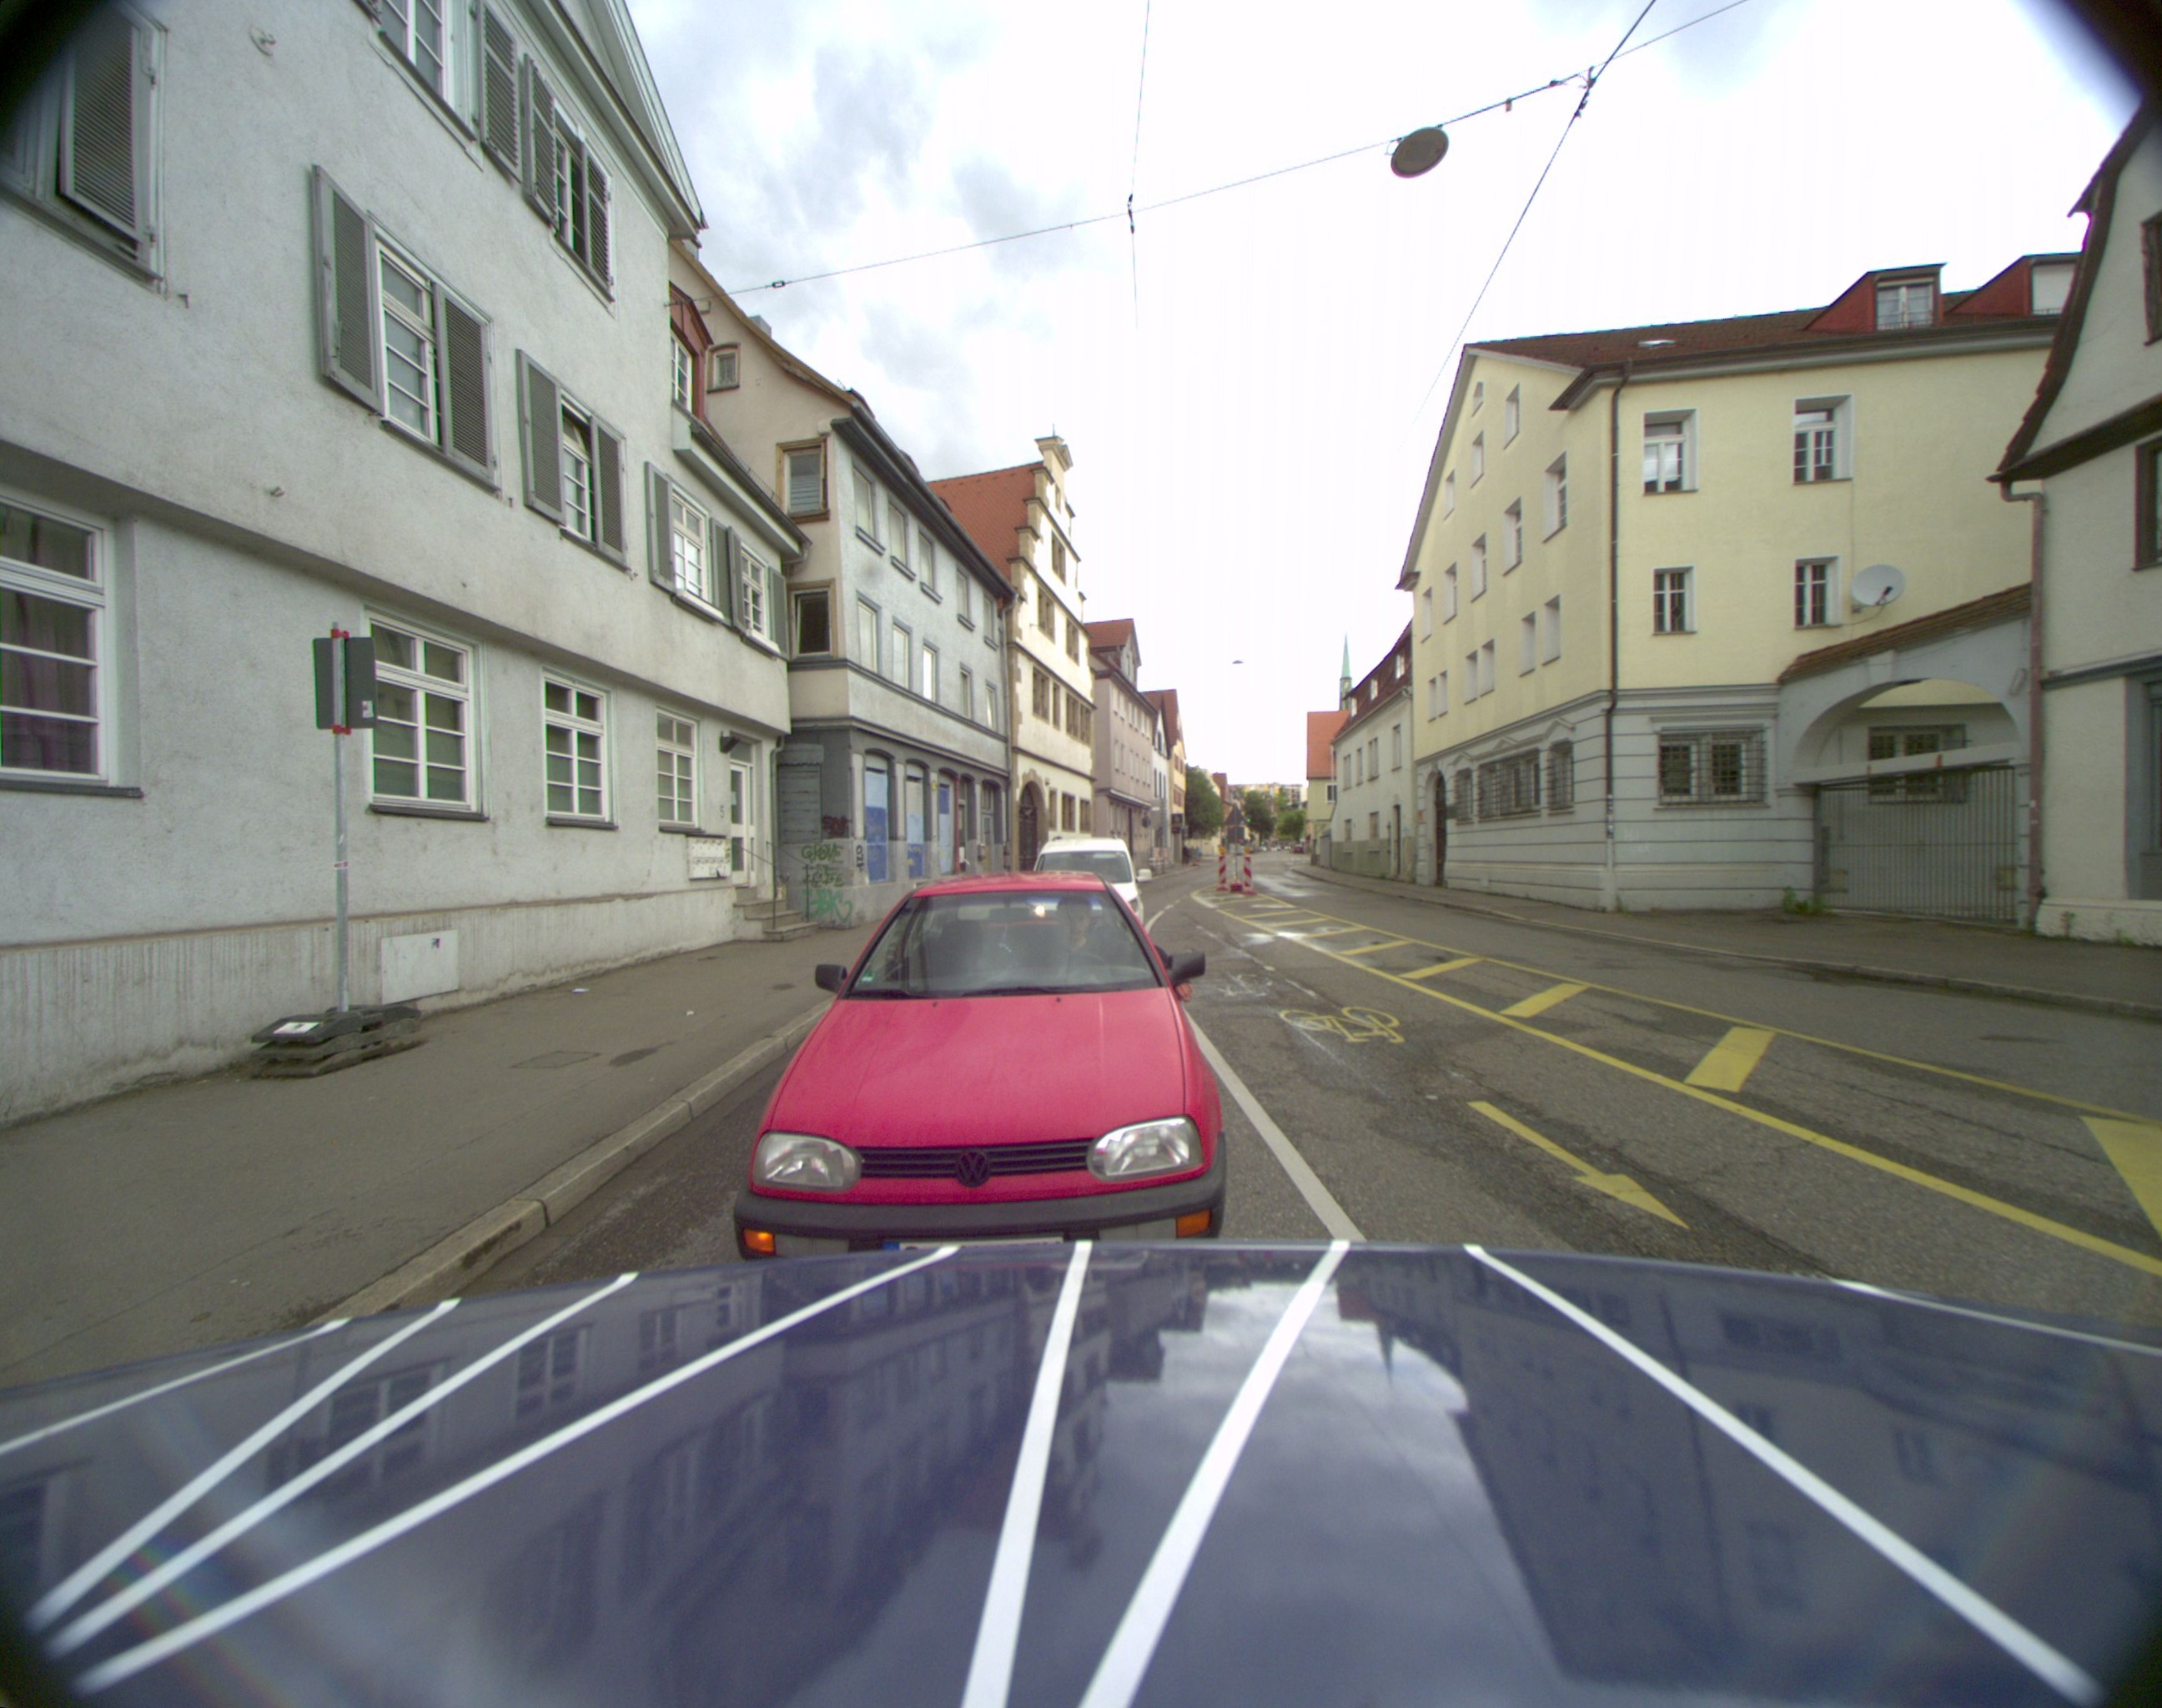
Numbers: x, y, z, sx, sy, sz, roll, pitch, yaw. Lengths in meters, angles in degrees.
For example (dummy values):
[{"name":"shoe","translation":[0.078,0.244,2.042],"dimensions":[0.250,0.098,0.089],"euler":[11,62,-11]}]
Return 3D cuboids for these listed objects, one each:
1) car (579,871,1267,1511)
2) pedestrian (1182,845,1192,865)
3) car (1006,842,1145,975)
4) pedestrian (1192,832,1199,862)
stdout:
[{"name":"car","translation":[-0.306,0.956,4.009],"dimensions":[1.792,1.418,3.999],"euler":[-1,3,3]},{"name":"pedestrian","translation":[8.362,0.070,59.829],"dimensions":[0.725,1.604,0.649],"euler":[0,1,10]},{"name":"car","translation":[0.017,0.694,12.159],"dimensions":[1.814,1.695,4.256],"euler":[-1,1,2]},{"name":"pedestrian","translation":[9.607,-0.604,63.700],"dimensions":[0.495,2.513,0.746],"euler":[-1,1,12]}]
